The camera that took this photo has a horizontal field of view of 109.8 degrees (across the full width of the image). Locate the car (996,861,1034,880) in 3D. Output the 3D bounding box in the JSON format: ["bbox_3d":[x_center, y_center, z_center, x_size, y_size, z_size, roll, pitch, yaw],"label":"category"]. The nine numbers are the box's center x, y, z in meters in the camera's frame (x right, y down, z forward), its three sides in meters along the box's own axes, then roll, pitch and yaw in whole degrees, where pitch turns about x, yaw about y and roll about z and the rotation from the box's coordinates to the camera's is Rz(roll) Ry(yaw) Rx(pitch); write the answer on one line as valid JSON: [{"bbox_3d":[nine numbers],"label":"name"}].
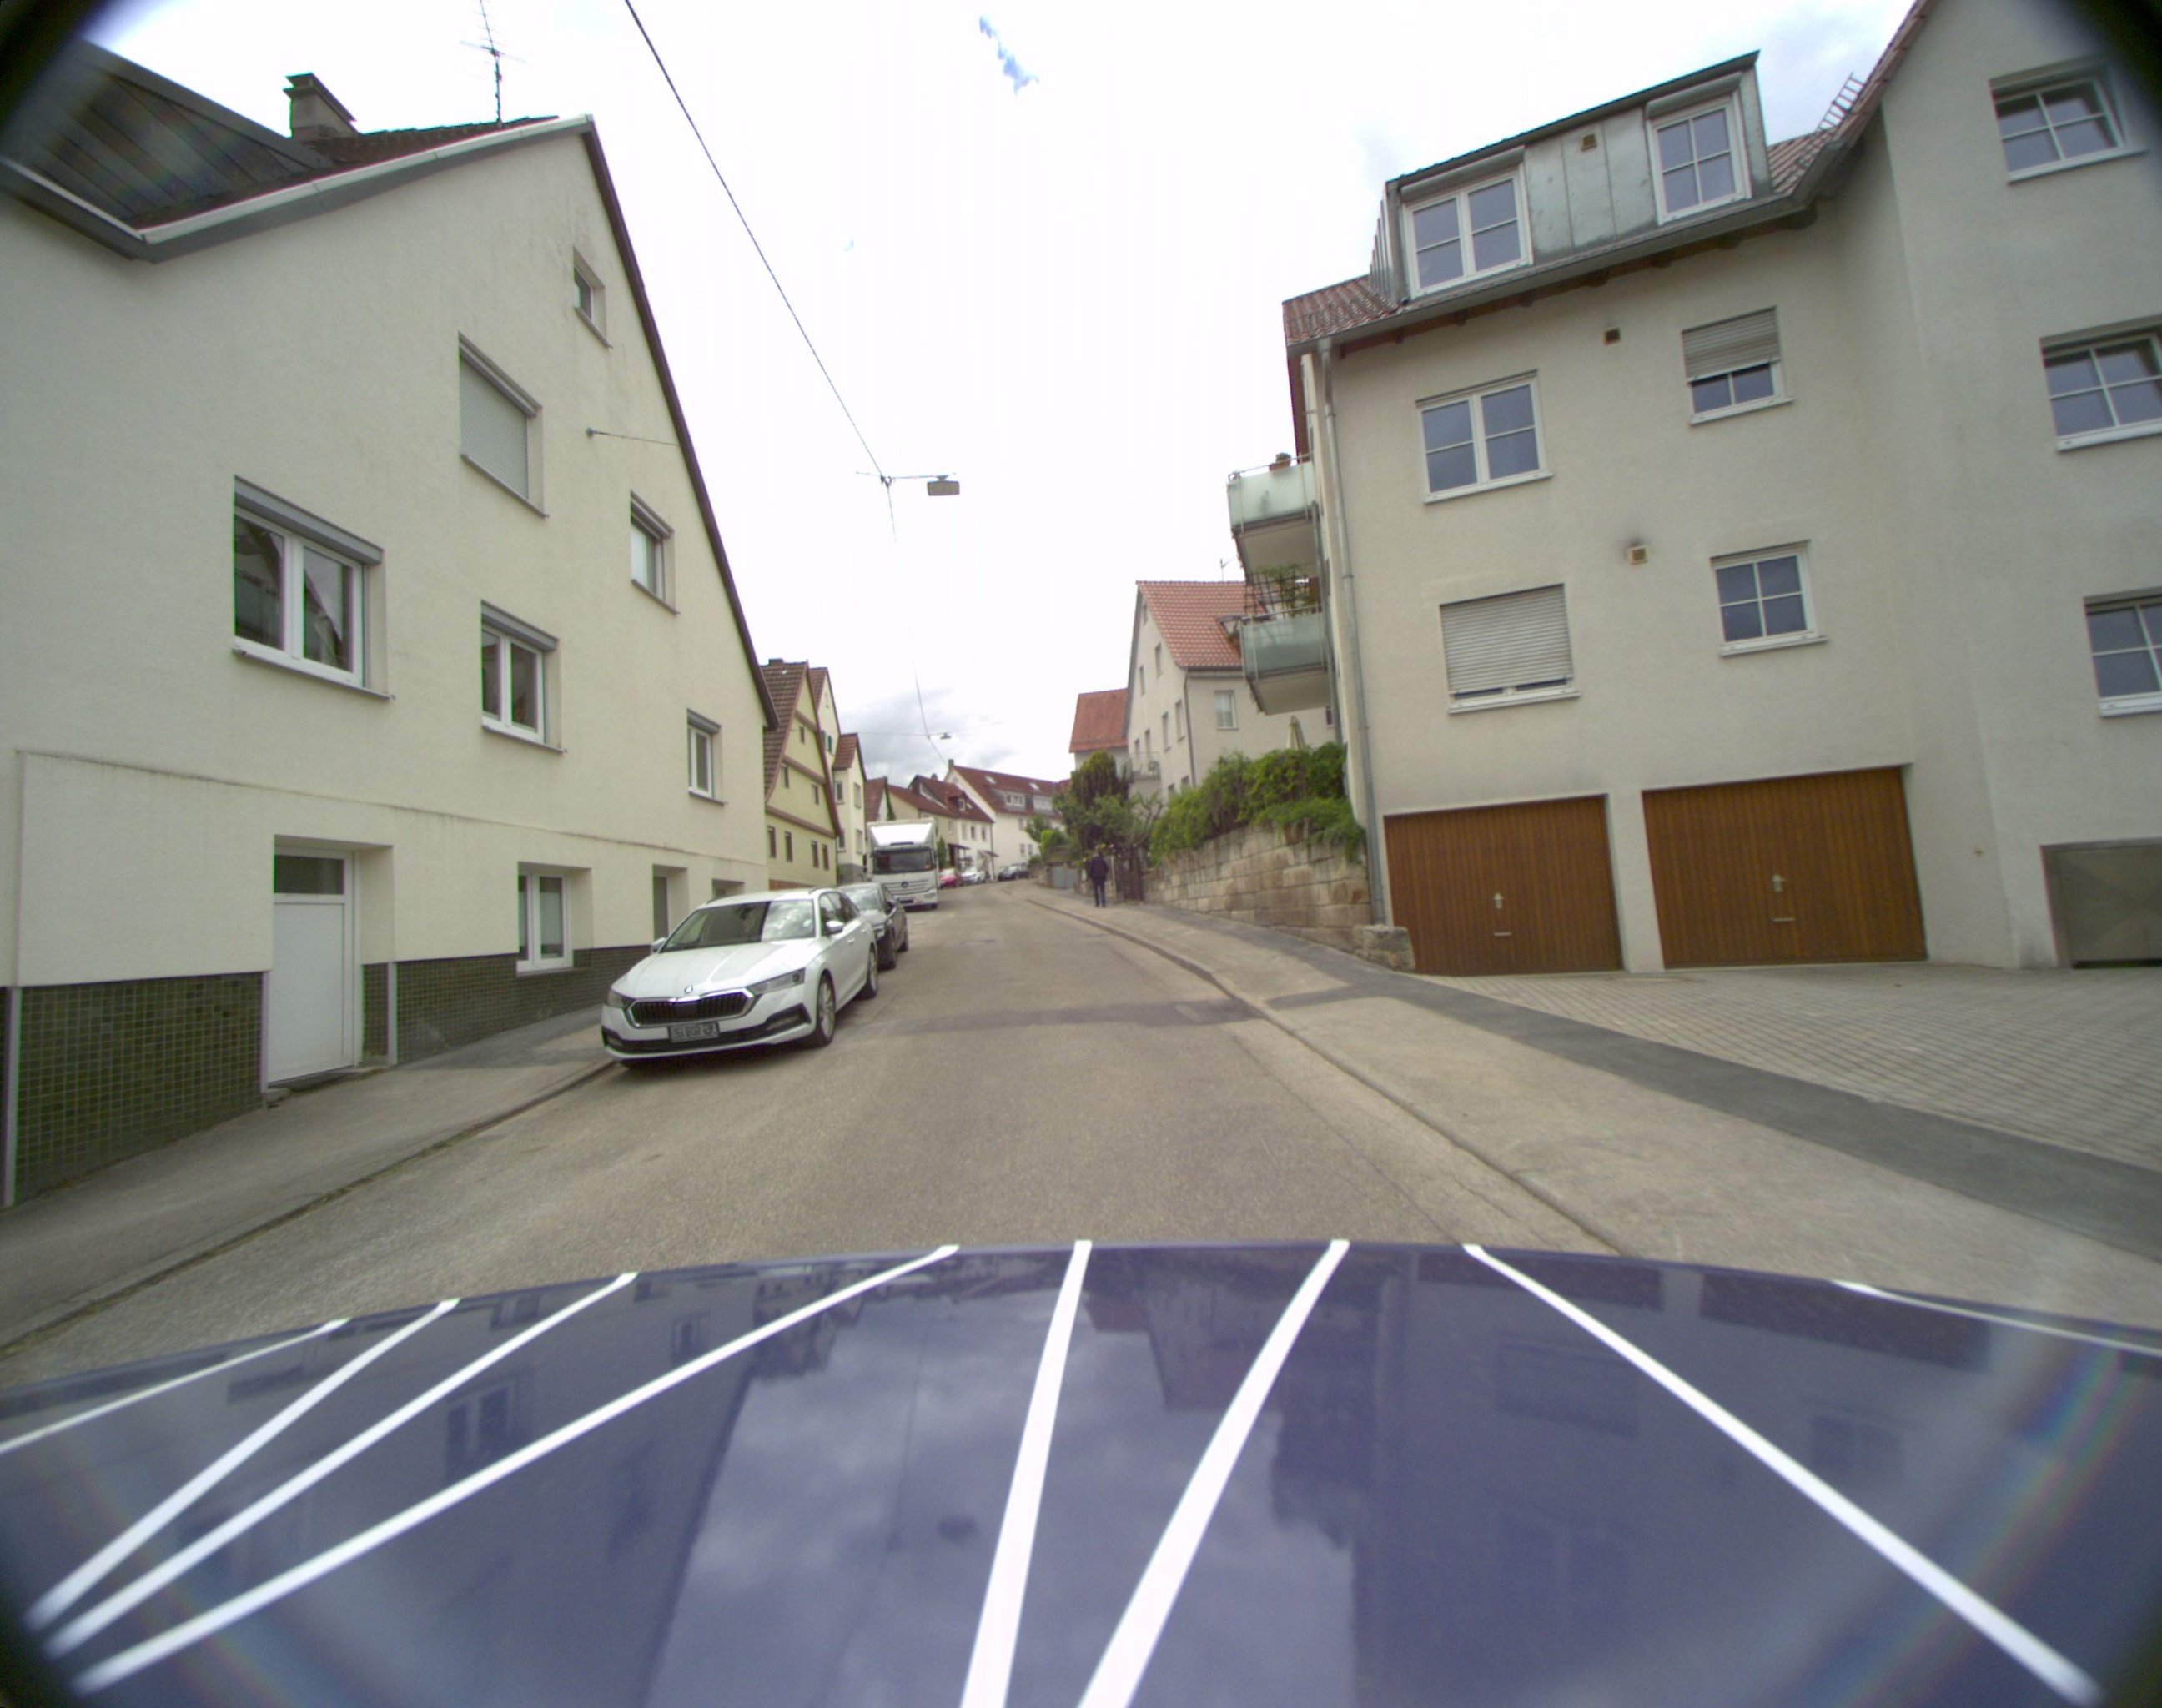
[{"bbox_3d":[-5.986,1.484,69.344,1.720,1.398,4.009,-7,-2,21],"label":"car"}]

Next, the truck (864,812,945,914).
[{"bbox_3d":[-7.165,0.364,31.494,2.685,3.576,8.098,-3,0,-11],"label":"truck"}]

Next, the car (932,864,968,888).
[{"bbox_3d":[-9.372,1.563,54.488,1.683,1.443,3.852,-5,0,2],"label":"car"}]

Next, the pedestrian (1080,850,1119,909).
[{"bbox_3d":[0.550,0.751,22.768,0.843,1.668,0.976,-6,1,-10],"label":"pedestrian"}]

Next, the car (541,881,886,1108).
[{"bbox_3d":[-3.378,1.158,8.040,1.800,1.437,4.295,-5,0,-6],"label":"car"}]

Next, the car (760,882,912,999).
[{"bbox_3d":[-3.987,1.326,13.034,1.679,1.400,4.048,-6,0,-8],"label":"car"}]

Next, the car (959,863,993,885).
[{"bbox_3d":[-8.490,1.628,61.686,1.614,1.523,2.899,-8,-1,12],"label":"car"}]
